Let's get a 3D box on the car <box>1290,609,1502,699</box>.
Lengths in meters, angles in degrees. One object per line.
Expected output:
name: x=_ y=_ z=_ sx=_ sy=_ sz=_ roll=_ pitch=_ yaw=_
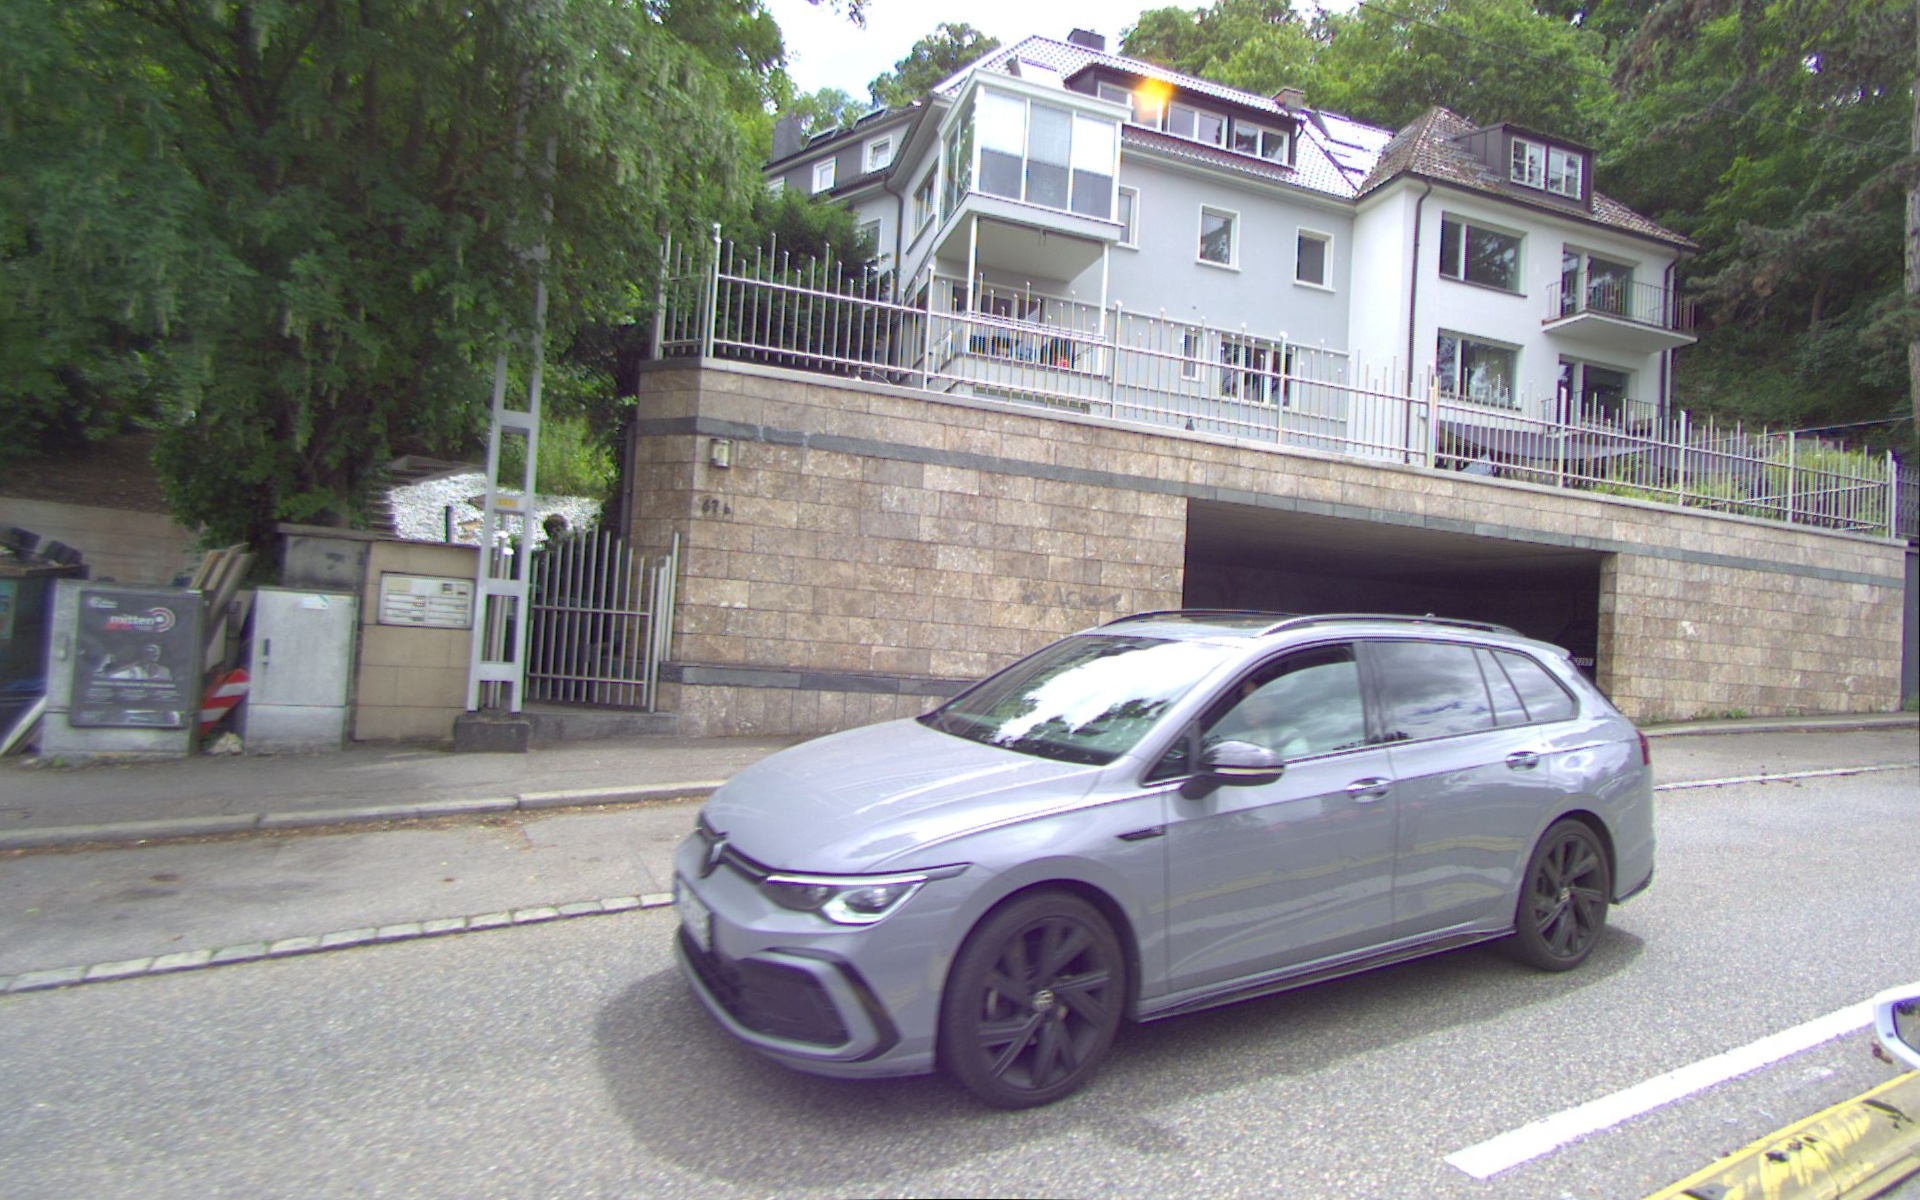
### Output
car: x=8.059 y=0.992 z=18.544 sx=3.502 sy=1.438 sz=1.763 roll=4 pitch=0 yaw=-28

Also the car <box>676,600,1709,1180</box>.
car: x=1.129 y=0.773 z=4.332 sx=4.255 sy=1.454 sz=1.760 roll=1 pitch=0 yaw=-29

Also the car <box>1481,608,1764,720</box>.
car: x=10.183 y=0.978 z=15.486 sx=3.646 sy=1.472 sz=1.779 roll=3 pitch=0 yaw=-20
